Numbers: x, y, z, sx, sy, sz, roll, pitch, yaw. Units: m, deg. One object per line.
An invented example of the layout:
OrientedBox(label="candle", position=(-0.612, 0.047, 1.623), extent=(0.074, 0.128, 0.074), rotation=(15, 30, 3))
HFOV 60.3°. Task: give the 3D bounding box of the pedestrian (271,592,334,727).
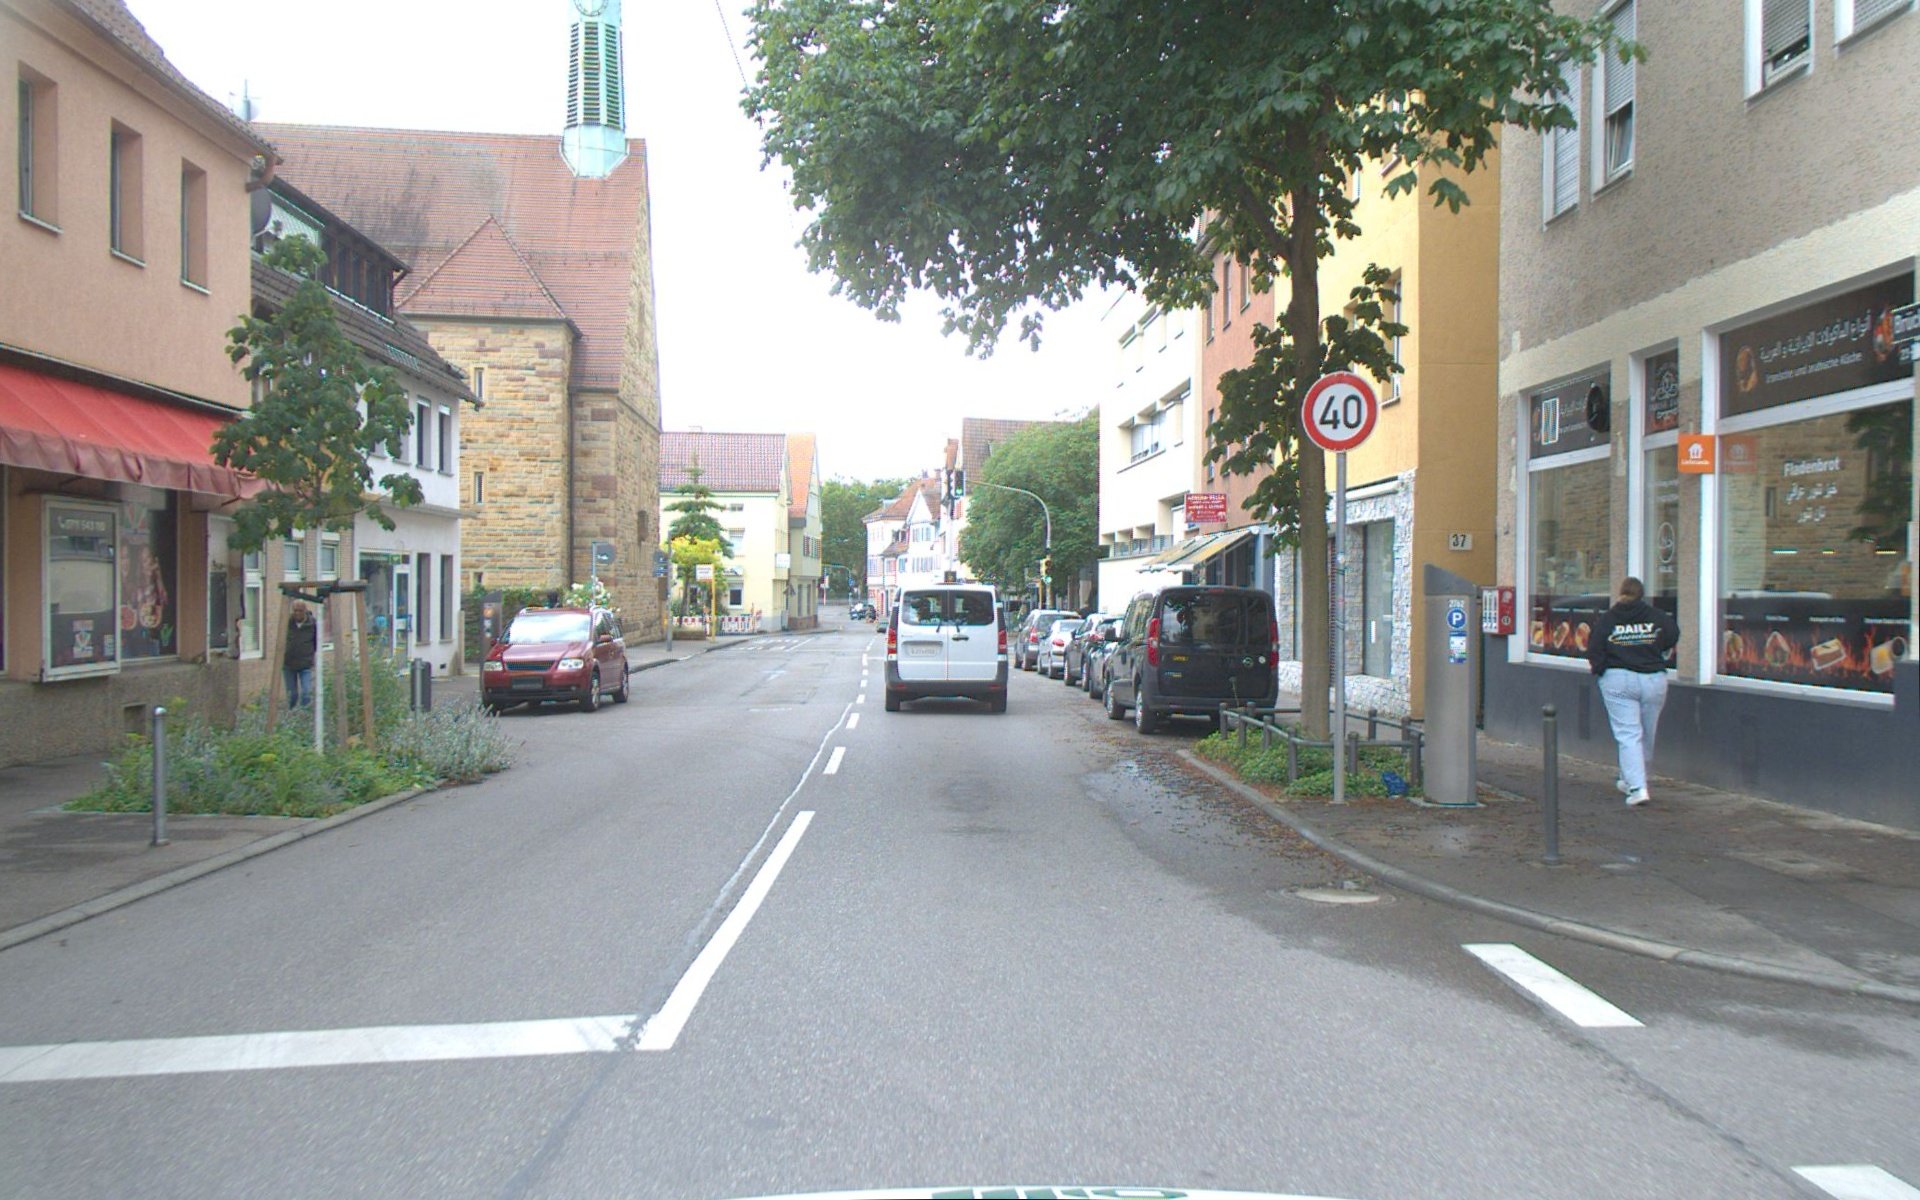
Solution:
OrientedBox(label="pedestrian", position=(-8.253, 0.732, 20.772), extent=(0.720, 1.657, 0.753), rotation=(0, 0, -22))

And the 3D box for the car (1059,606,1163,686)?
OrientedBox(label="car", position=(3.072, 0.907, 34.361), extent=(1.570, 1.545, 4.206), rotation=(0, 0, -3))

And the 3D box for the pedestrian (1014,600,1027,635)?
OrientedBox(label="pedestrian", position=(3.007, 0.872, 82.325), extent=(0.589, 1.746, 0.860), rotation=(0, 0, 5))

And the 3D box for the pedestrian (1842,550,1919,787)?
OrientedBox(label="pedestrian", position=(6.496, 0.464, 11.375), extent=(0.555, 1.588, 0.520), rotation=(1, -1, -2))

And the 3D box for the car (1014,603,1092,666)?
OrientedBox(label="car", position=(2.463, 0.890, 44.356), extent=(1.677, 1.587, 3.783), rotation=(1, 0, -3))

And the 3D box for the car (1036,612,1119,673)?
OrientedBox(label="car", position=(2.778, 0.993, 39.775), extent=(1.520, 1.356, 3.810), rotation=(1, 0, -3))

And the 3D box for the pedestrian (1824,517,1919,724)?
OrientedBox(label="pedestrian", position=(7.248, 0.158, 13.041), extent=(0.555, 1.588, 0.561), rotation=(1, -1, -2))

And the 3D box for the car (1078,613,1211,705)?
OrientedBox(label="car", position=(3.113, 0.964, 28.695), extent=(1.715, 1.430, 4.510), rotation=(0, 0, -1))

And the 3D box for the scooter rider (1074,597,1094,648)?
OrientedBox(label="scooter rider", position=(4.066, 0.748, 54.235), extent=(0.445, 1.660, 0.502), rotation=(-2, -2, -17))

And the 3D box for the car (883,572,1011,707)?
OrientedBox(label="car", position=(-0.230, 0.593, 25.917), extent=(1.835, 1.945, 3.999), rotation=(0, -1, -1))

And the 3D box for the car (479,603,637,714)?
OrientedBox(label="car", position=(-6.570, 0.896, 27.465), extent=(1.669, 1.601, 4.448), rotation=(-2, 1, -3))

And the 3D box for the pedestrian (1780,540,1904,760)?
OrientedBox(label="pedestrian", position=(6.579, 0.363, 12.360), extent=(0.555, 1.588, 0.655), rotation=(1, -1, -2))

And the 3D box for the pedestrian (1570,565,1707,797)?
OrientedBox(label="pedestrian", position=(5.102, 0.585, 12.492), extent=(0.602, 1.681, 0.982), rotation=(0, 0, -3))

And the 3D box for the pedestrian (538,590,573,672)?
OrientedBox(label="pedestrian", position=(-9.447, 0.717, 38.678), extent=(0.559, 1.880, 0.696), rotation=(3, 0, -2))

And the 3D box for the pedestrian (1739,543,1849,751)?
OrientedBox(label="pedestrian", position=(6.543, 0.366, 12.995), extent=(0.555, 1.588, 0.556), rotation=(1, -1, -2))

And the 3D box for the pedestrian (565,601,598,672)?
OrientedBox(label="pedestrian", position=(-8.664, 0.836, 37.912), extent=(0.559, 1.581, 0.696), rotation=(2, 0, -2))

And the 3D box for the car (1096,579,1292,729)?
OrientedBox(label="car", position=(3.048, 0.668, 22.443), extent=(1.783, 1.812, 4.400), rotation=(1, 0, -4))
